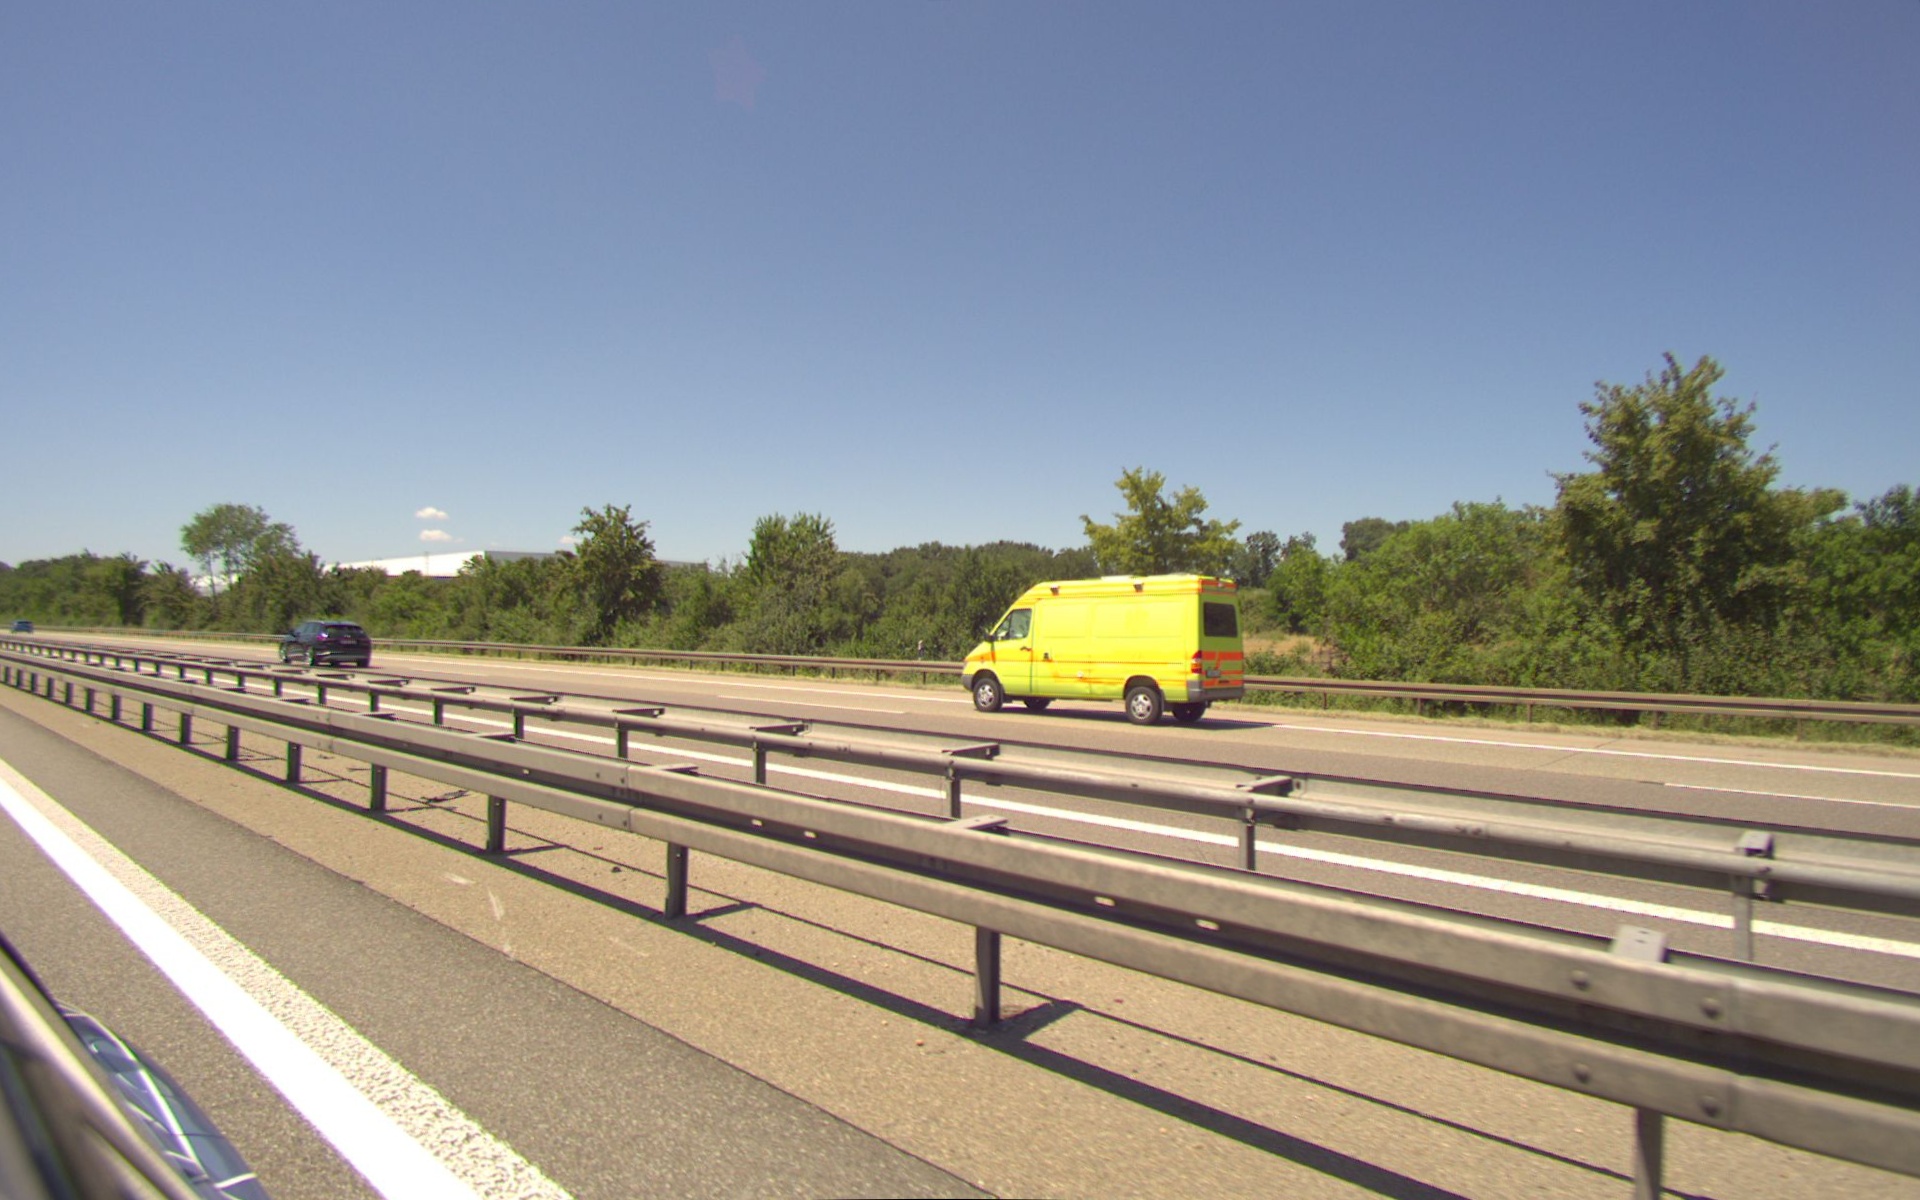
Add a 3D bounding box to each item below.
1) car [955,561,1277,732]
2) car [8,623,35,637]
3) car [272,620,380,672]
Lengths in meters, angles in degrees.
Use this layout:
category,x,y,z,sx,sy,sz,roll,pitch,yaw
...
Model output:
category,x,y,z,sx,sy,sz,roll,pitch,yaw
car,2.810,0.843,19.271,5.796,2.800,2.143,-1,-4,41
car,-102.161,3.228,110.144,3.467,1.435,1.549,0,-3,38
car,-22.105,1.569,35.220,4.623,1.703,1.849,-1,-4,41
